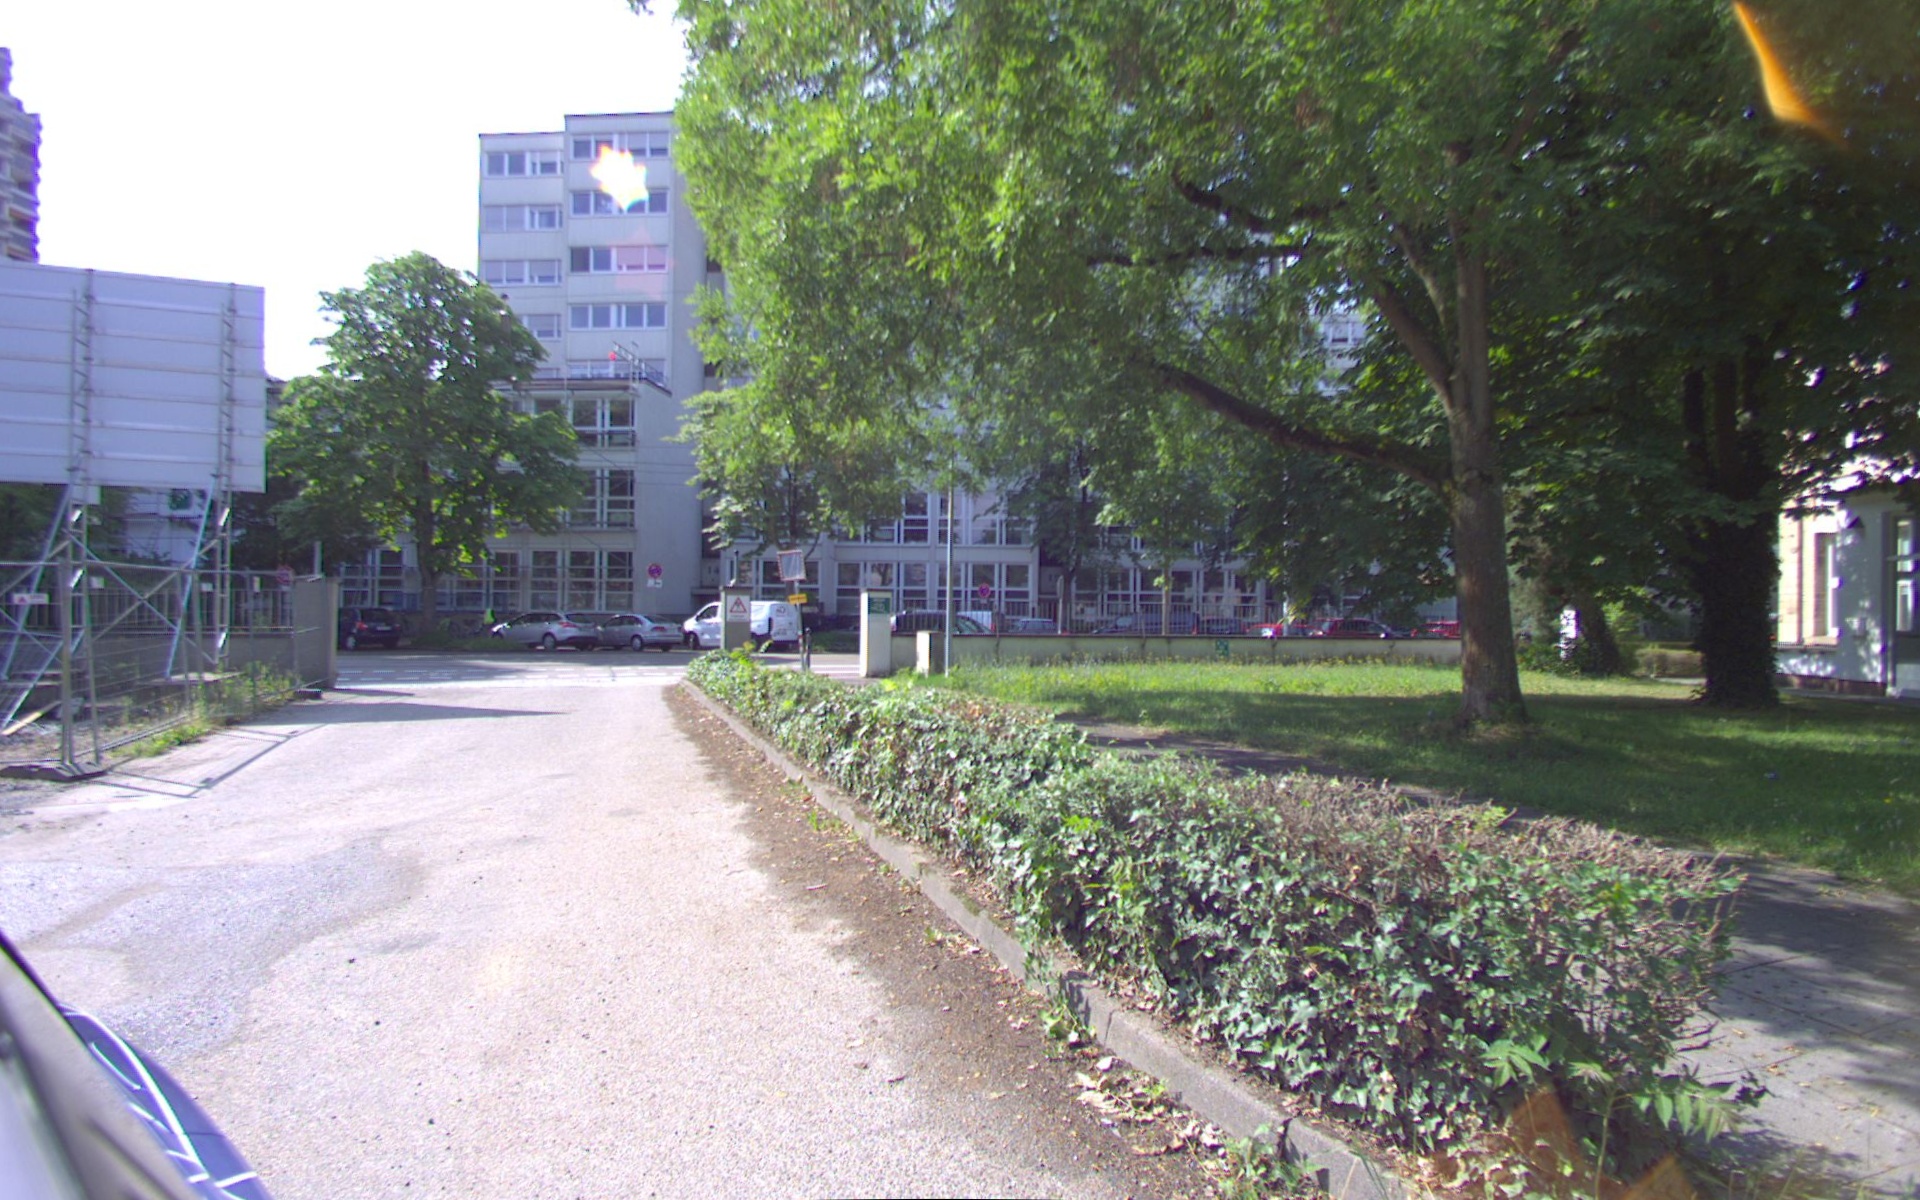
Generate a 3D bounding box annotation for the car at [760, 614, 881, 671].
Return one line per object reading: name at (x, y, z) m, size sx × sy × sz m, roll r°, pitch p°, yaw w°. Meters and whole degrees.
car at (-5.607, 1.656, 40.608) m, size 4.552 × 2.012 × 1.886 m, roll 0°, pitch 3°, yaw 28°

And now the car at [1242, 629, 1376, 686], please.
car at (10.500, 1.725, 30.503) m, size 3.522 × 1.624 × 1.685 m, roll 2°, pitch -3°, yaw -21°

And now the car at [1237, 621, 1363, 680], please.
car at (10.323, 1.503, 30.762) m, size 3.223 × 1.497 × 1.678 m, roll -4°, pitch 0°, yaw -21°

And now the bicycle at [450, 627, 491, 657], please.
bicycle at (-20.890, 1.799, 43.237) m, size 0.491 × 1.095 × 2.051 m, roll -3°, pitch 2°, yaw 8°

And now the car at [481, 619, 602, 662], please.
car at (-15.737, 1.543, 38.023) m, size 4.208 × 1.475 × 1.769 m, roll -2°, pitch -4°, yaw 23°

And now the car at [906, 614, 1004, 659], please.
car at (-0.197, 1.577, 43.417) m, size 3.735 × 1.724 × 1.869 m, roll -2°, pitch 2°, yaw 24°

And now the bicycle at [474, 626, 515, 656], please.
bicycle at (-20.015, 1.756, 43.558) m, size 0.491 × 1.095 × 2.051 m, roll -3°, pitch 2°, yaw 8°

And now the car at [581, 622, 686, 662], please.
car at (-12.596, 1.614, 39.016) m, size 3.764 × 1.487 × 1.710 m, roll -1°, pitch -3°, yaw 27°

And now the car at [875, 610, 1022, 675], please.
car at (-0.309, 1.140, 26.779) m, size 3.522 × 1.624 × 1.685 m, roll 2°, pitch -3°, yaw -21°

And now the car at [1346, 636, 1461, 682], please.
car at (16.756, 2.236, 38.235) m, size 3.902 × 1.624 × 1.685 m, roll 2°, pitch -1°, yaw -22°

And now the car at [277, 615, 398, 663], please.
car at (-21.750, 1.354, 35.354) m, size 3.980 × 1.473 × 1.744 m, roll -2°, pitch 2°, yaw 27°

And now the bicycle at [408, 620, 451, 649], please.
bicycle at (-22.824, 1.485, 43.584) m, size 0.491 × 1.095 × 2.051 m, roll -3°, pitch 2°, yaw 8°

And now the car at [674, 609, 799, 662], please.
car at (-8.758, 1.384, 39.671) m, size 4.620 × 1.927 × 1.914 m, roll 0°, pitch -4°, yaw 28°

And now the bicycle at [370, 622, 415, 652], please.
bicycle at (-24.462, 1.584, 43.635) m, size 0.491 × 1.095 × 2.051 m, roll -3°, pitch 2°, yaw 8°
